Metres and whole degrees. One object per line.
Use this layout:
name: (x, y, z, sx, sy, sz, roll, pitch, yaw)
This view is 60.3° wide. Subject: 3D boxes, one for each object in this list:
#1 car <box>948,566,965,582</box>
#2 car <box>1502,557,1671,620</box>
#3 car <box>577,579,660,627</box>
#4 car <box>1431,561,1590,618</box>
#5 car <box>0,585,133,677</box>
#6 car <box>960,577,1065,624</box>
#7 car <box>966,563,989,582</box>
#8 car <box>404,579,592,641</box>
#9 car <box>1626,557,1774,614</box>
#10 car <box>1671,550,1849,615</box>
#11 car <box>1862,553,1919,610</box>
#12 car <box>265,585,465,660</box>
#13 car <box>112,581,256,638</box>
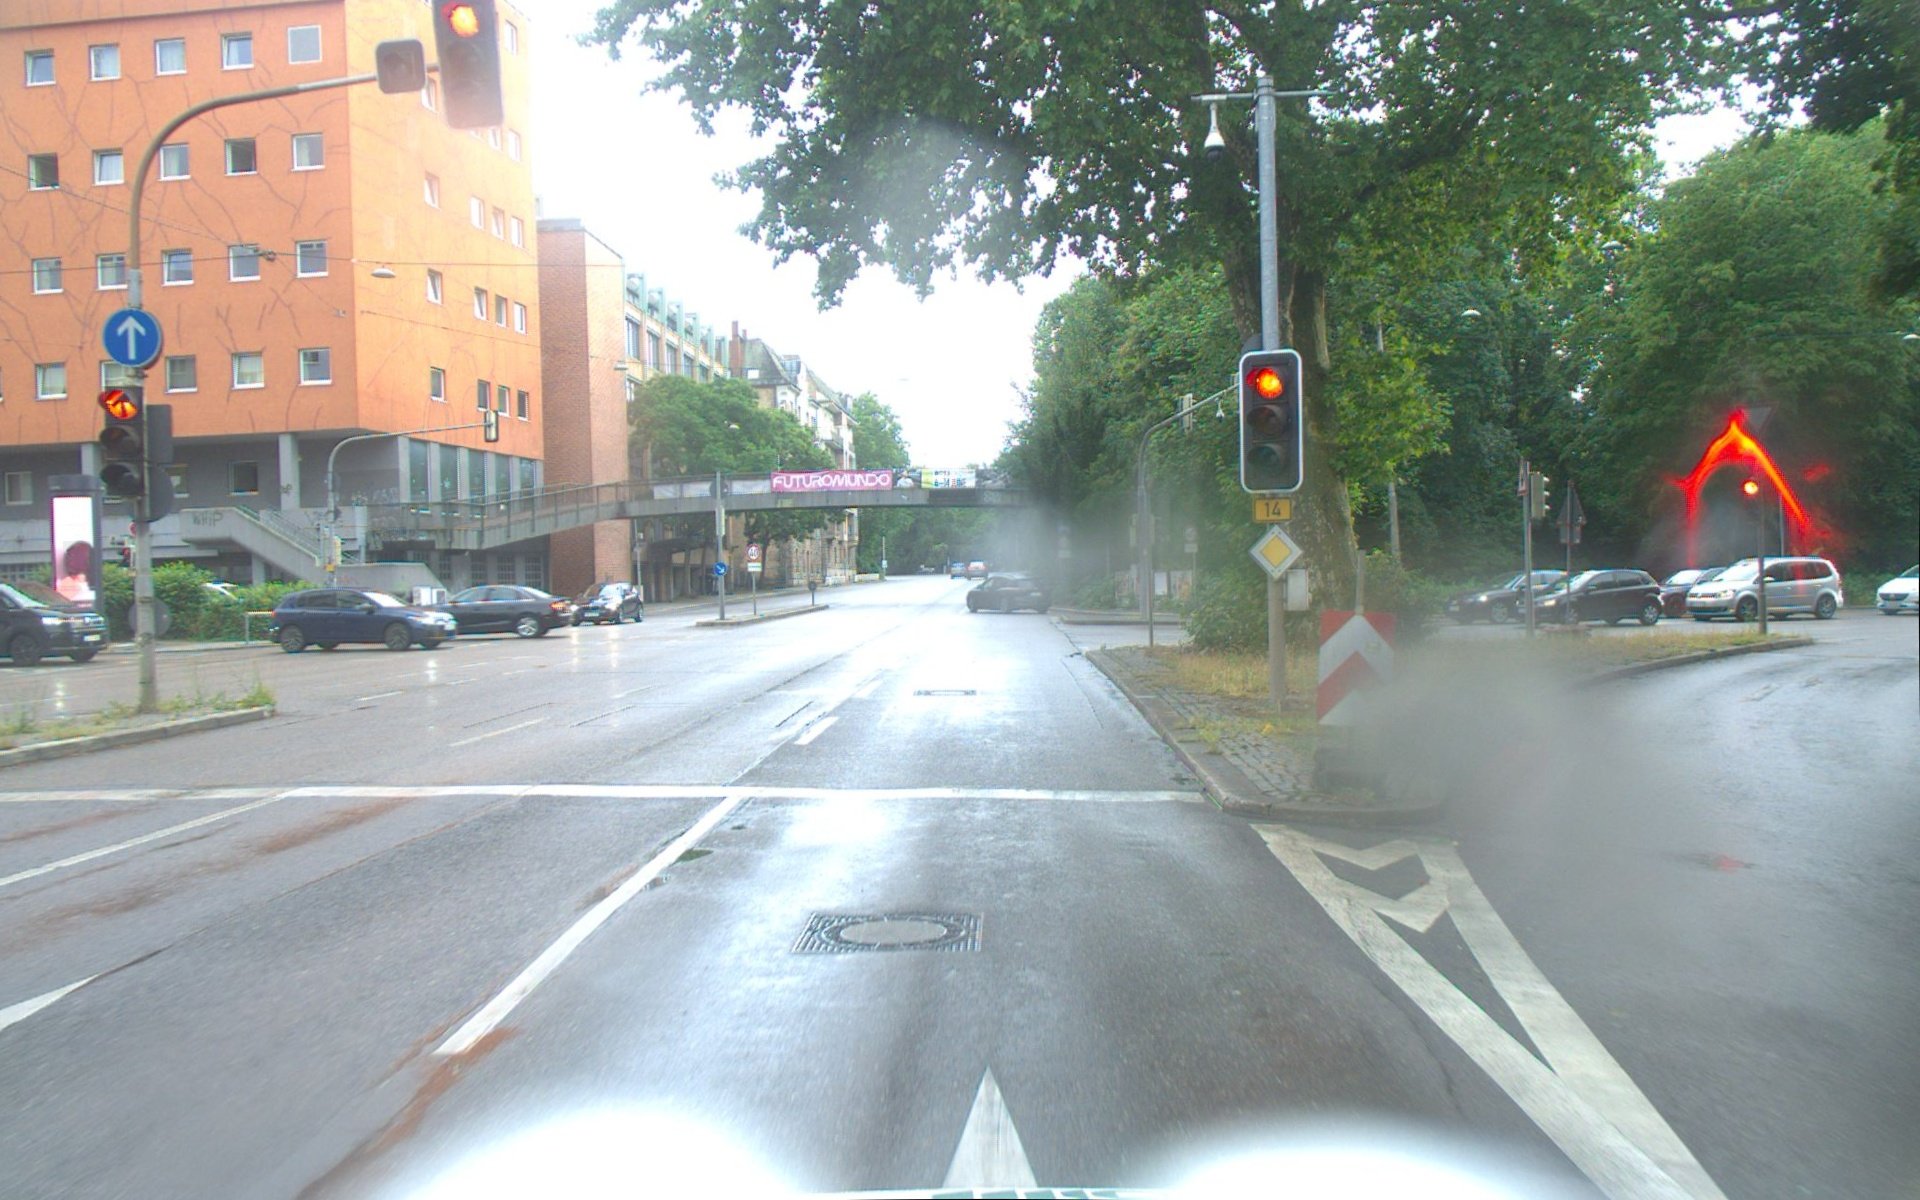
car: (-0.383, -2.825, 180.696, 1.727, 1.726, 3.706, -3, 0, 0)
car: (16.085, -0.298, 42.515, 3.789, 1.511, 1.666, -1, 0, -15)
car: (-11.785, 0.075, 57.328, 1.952, 1.545, 4.001, -2, 1, 1)
car: (15.420, -0.302, 46.385, 3.927, 1.512, 1.868, -1, 0, -20)
car: (-21.193, 0.761, 36.459, 4.968, 1.878, 2.002, -4, 0, 9)
car: (1.928, -0.017, 62.123, 1.856, 1.666, 4.477, -1, 1, -31)
car: (1.683, -2.685, 162.035, 2.078, 1.765, 4.197, 0, 2, -2)
car: (-12.155, 0.248, 43.795, 4.516, 1.477, 1.771, -2, 0, -7)
car: (21.398, -0.431, 47.856, 3.766, 1.512, 1.735, -1, 1, -20)
car: (21.553, -0.470, 44.580, 4.191, 1.512, 1.767, -3, 0, -16)
car: (27.727, -0.590, 46.703, 3.928, 1.512, 1.764, -3, 0, -20)
car: (-13.810, 0.512, 38.453, 4.047, 1.471, 1.587, -3, 0, 10)
car: (-26.046, 0.301, 55.589, 3.929, 1.646, 1.896, -3, 0, 10)
